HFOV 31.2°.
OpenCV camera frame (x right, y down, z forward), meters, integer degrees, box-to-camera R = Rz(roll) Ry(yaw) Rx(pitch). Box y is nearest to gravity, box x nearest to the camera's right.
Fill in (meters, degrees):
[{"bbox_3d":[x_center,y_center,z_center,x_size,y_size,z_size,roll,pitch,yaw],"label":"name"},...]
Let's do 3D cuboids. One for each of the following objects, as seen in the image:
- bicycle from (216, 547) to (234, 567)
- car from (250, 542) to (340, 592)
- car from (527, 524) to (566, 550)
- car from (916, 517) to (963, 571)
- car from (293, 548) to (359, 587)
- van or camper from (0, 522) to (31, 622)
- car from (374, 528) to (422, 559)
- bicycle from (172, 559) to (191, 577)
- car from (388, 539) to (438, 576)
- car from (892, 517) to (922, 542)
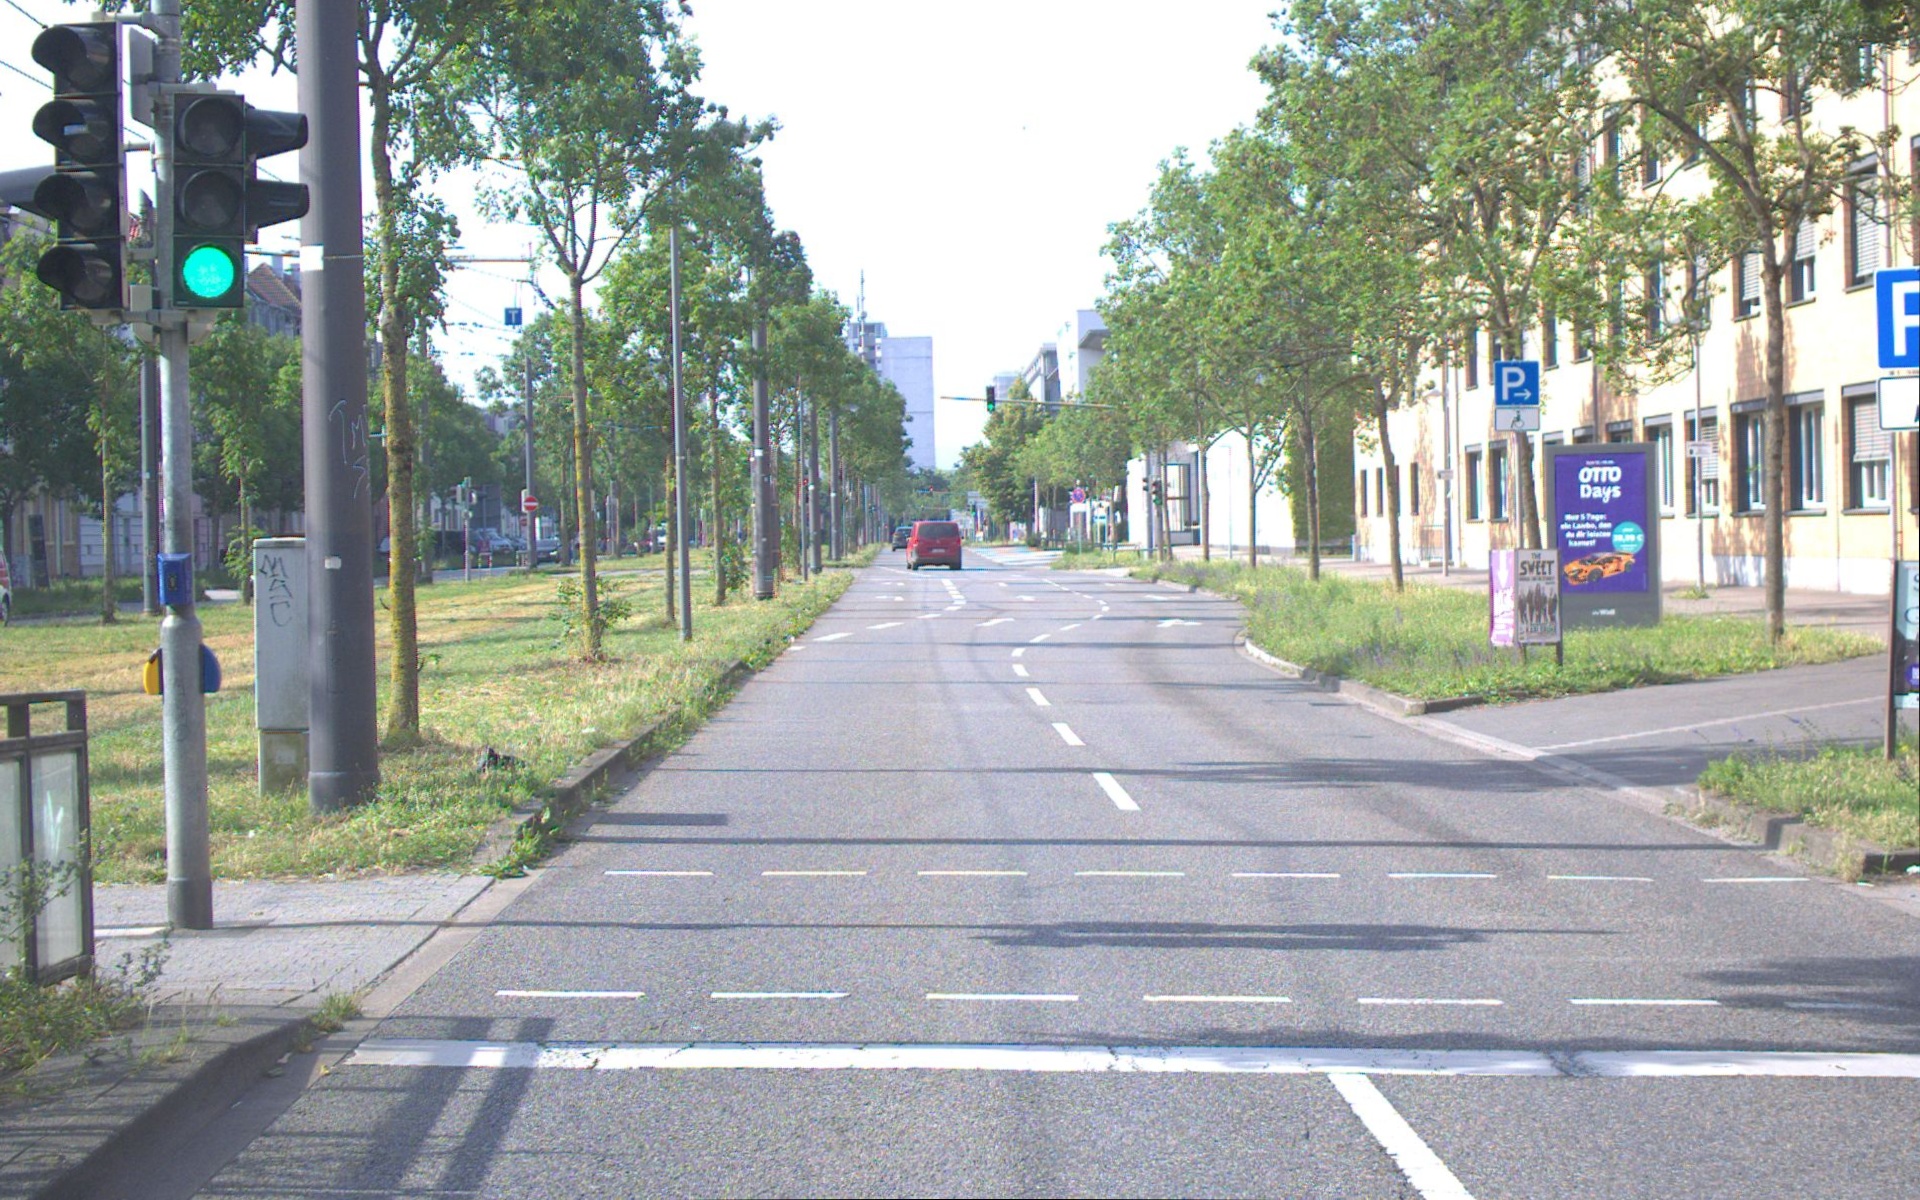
[{"bbox_3d":[-32.845,-1.913,153.546,0.447,0.854,1.948,1,1,-2],"label":"bicycle"},{"bbox_3d":[-22.742,-1.131,117.712,1.993,1.624,5.380,1,1,0],"label":"car"},{"bbox_3d":[-23.672,-3.612,196.928,1.812,1.428,3.926,1,1,-2],"label":"car"},{"bbox_3d":[-0.770,-2.139,131.041,1.748,2.007,3.216,1,1,0],"label":"car"},{"bbox_3d":[-24.614,-1.278,133.552,1.947,1.454,4.649,1,1,-4],"label":"car"},{"bbox_3d":[-21.117,-0.610,72.009,1.951,2.090,5.353,1,1,-2],"label":"van or camper"},{"bbox_3d":[-30.493,-3.095,186.669,1.993,1.623,4.776,1,1,-3],"label":"car"},{"bbox_3d":[-33.167,-1.368,146.512,0.437,0.786,1.948,1,1,-2],"label":"bicycle"},{"bbox_3d":[-25.258,-1.984,158.830,1.764,1.650,4.000,1,1,-1],"label":"car"},{"bbox_3d":[-3.307,-4.401,215.121,1.748,1.500,3.216,1,1,0],"label":"car"}]
